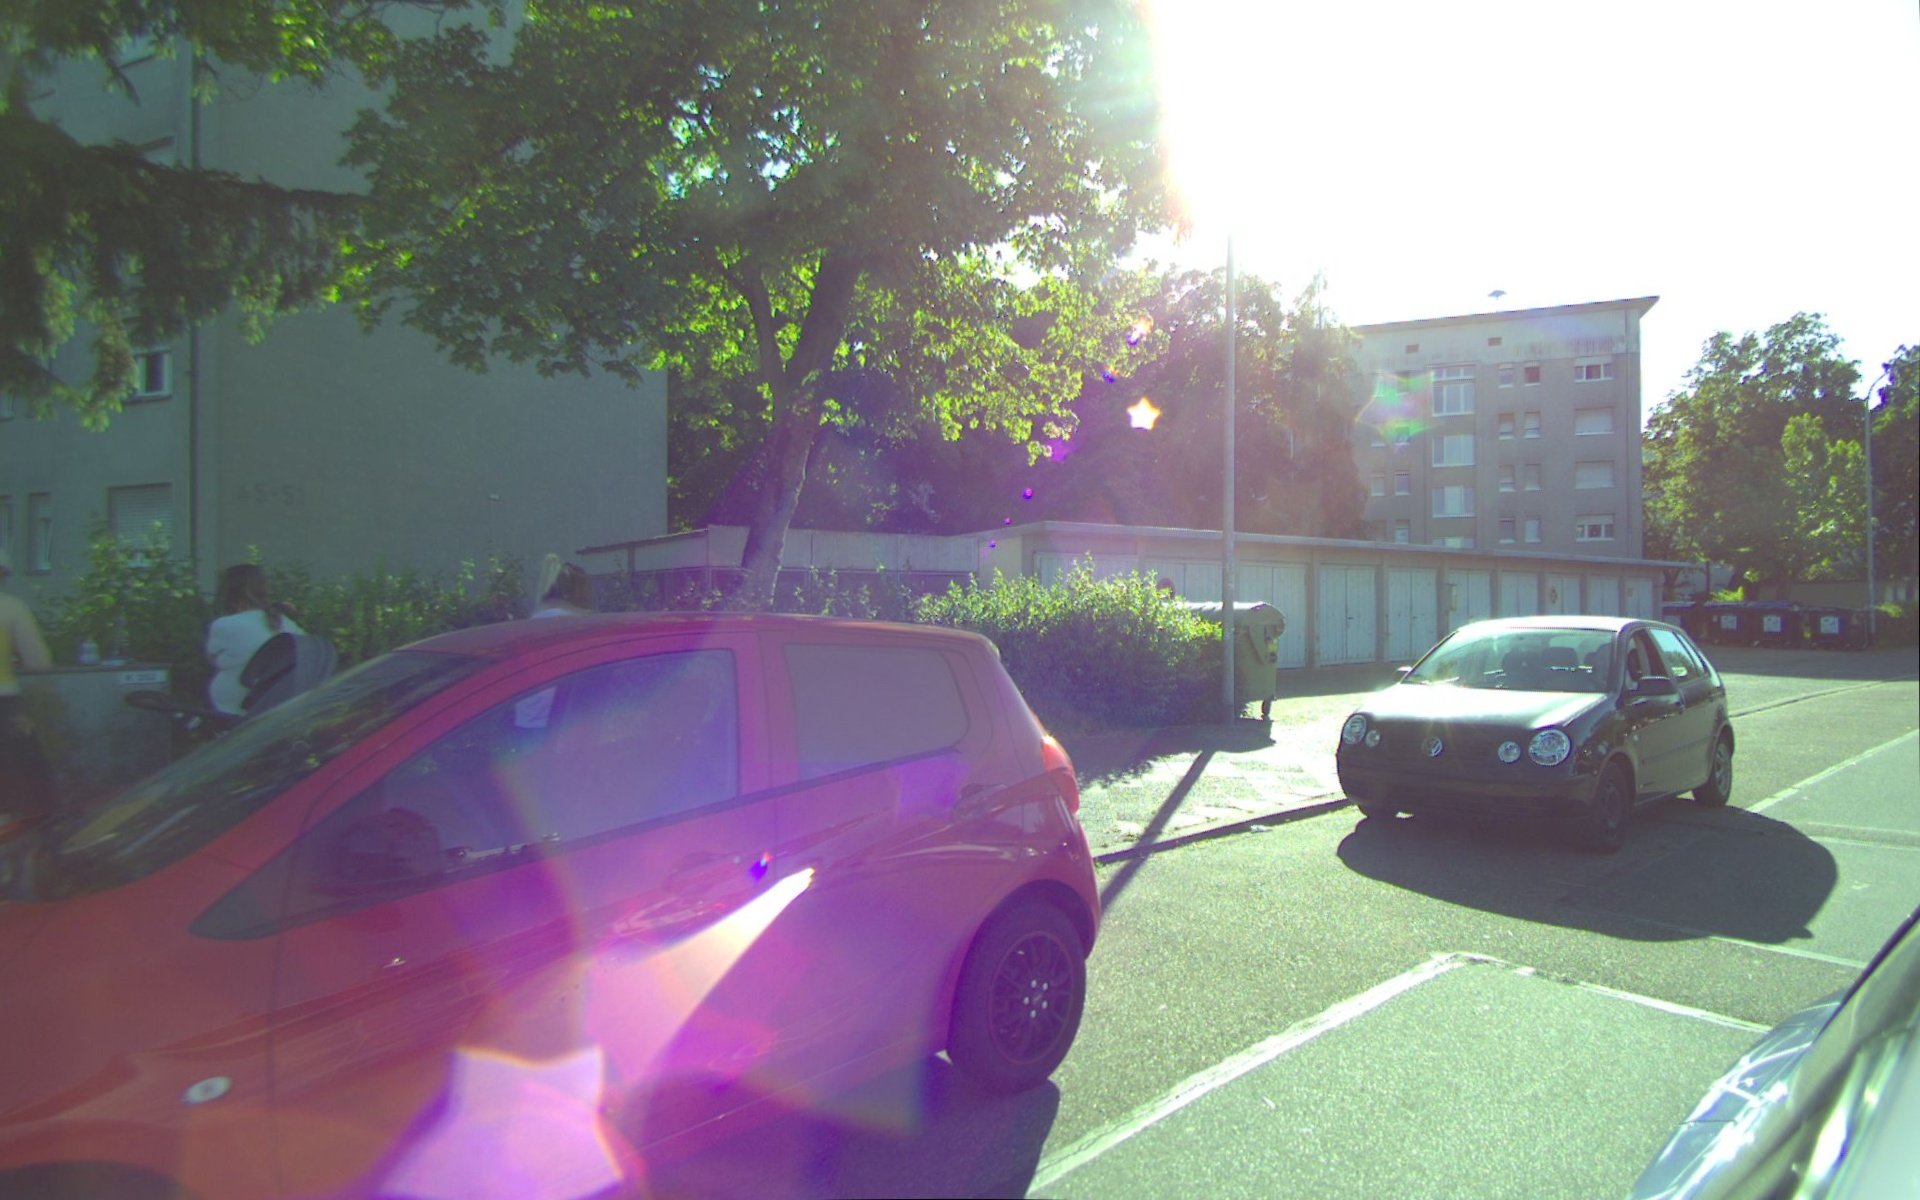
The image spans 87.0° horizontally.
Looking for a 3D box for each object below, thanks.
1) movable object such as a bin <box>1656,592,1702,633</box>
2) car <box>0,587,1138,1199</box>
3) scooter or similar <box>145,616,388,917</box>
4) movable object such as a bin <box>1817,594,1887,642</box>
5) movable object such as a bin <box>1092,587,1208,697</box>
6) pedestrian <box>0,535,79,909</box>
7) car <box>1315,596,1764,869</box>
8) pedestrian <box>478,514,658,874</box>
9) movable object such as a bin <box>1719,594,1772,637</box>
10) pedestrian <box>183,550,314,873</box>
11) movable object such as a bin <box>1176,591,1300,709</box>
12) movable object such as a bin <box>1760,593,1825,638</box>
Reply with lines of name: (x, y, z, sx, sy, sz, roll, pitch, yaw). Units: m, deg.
movable object such as a bin: (25.712, 0.440, 36.186, 0.817, 1.434, 1.080, -2, 0, -31)
car: (-1.299, 0.735, 2.741, 3.725, 1.465, 1.577, -1, 0, -43)
scooter or similar: (-3.318, 0.720, 4.855, 0.889, 1.242, 0.624, -1, 1, -41)
movable object such as a bin: (26.861, 0.523, 30.494, 1.031, 1.364, 1.256, -2, 0, -25)
movable object such as a bin: (2.632, 0.553, 14.105, 0.934, 1.433, 1.277, -1, 0, -39)
pedestrian: (-4.309, 0.516, 4.414, 0.585, 1.584, 0.483, -1, 2, -30)
car: (4.381, 0.720, 7.417, 3.813, 1.420, 1.650, -1, 1, -40)
pedestrian: (-1.930, 0.422, 4.952, 0.560, 1.585, 0.788, -1, -2, -41)
movable object such as a bin: (25.863, 0.503, 33.332, 0.847, 1.364, 1.081, -2, 0, -25)
pedestrian: (-3.718, 0.536, 5.289, 0.461, 1.584, 0.486, -2, 2, -44)
movable object such as a bin: (3.577, 0.607, 13.065, 0.898, 1.421, 1.240, -1, 0, -39)
movable object such as a bin: (26.343, 0.470, 32.037, 1.031, 1.364, 1.256, -2, 0, -25)
